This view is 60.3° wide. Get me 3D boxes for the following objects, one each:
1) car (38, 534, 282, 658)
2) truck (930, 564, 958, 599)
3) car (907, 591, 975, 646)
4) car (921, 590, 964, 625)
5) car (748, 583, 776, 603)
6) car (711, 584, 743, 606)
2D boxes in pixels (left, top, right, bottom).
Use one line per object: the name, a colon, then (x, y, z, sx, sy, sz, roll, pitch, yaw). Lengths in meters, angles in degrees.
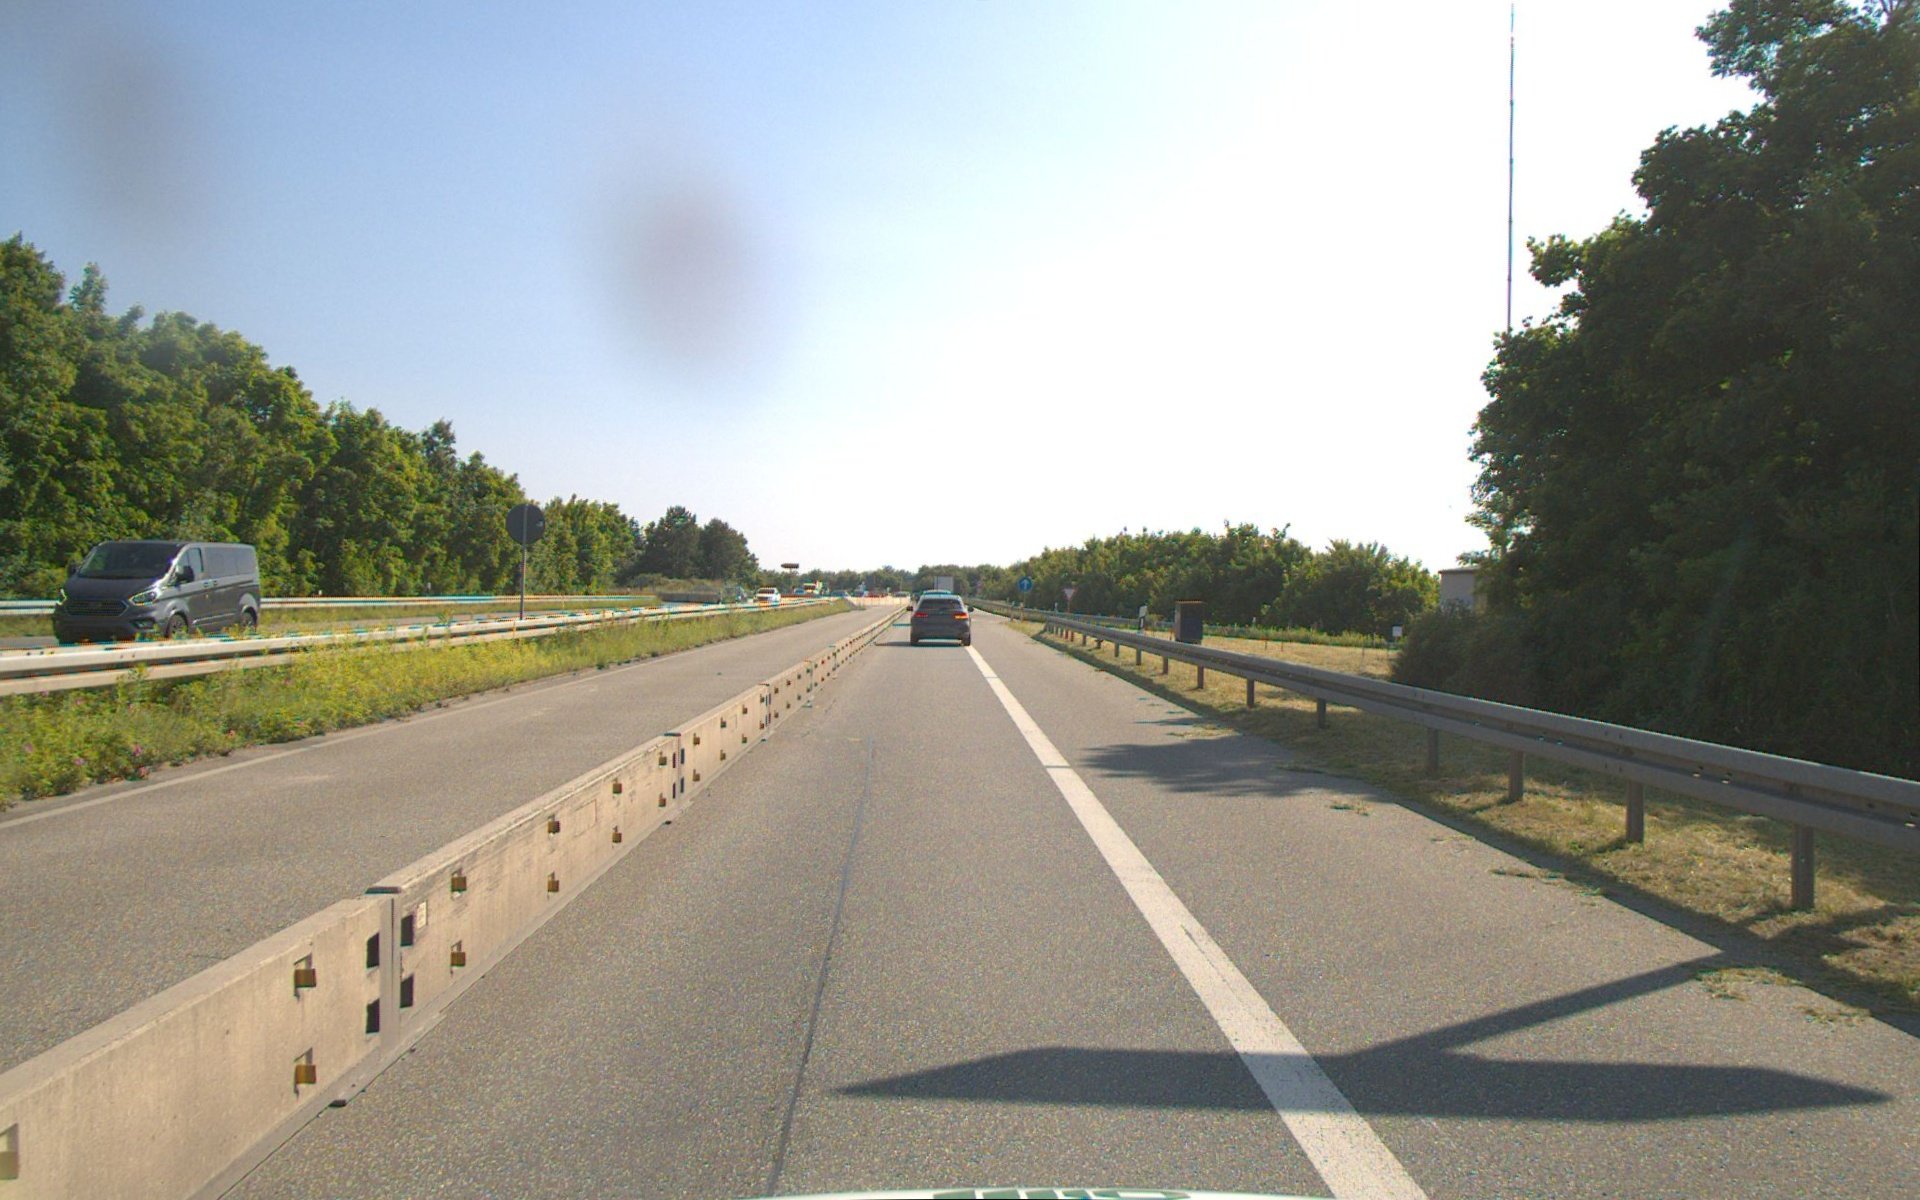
car: (-14.475, -0.091, 30.329, 1.953, 2.070, 5.168, 0, 1, 0)
truck: (-2.516, -2.831, 254.041, 3.686, 4.997, 14.128, 1, 0, -3)
car: (-0.593, 0.518, 48.665, 1.882, 1.520, 3.998, 1, 0, -2)
car: (-0.832, 0.347, 77.730, 1.953, 1.594, 4.000, 0, 0, -1)
car: (-15.700, -0.532, 131.300, 1.724, 1.496, 4.793, 2, 0, -2)
car: (-16.293, -0.360, 115.784, 1.703, 1.520, 4.108, 1, 0, -2)
